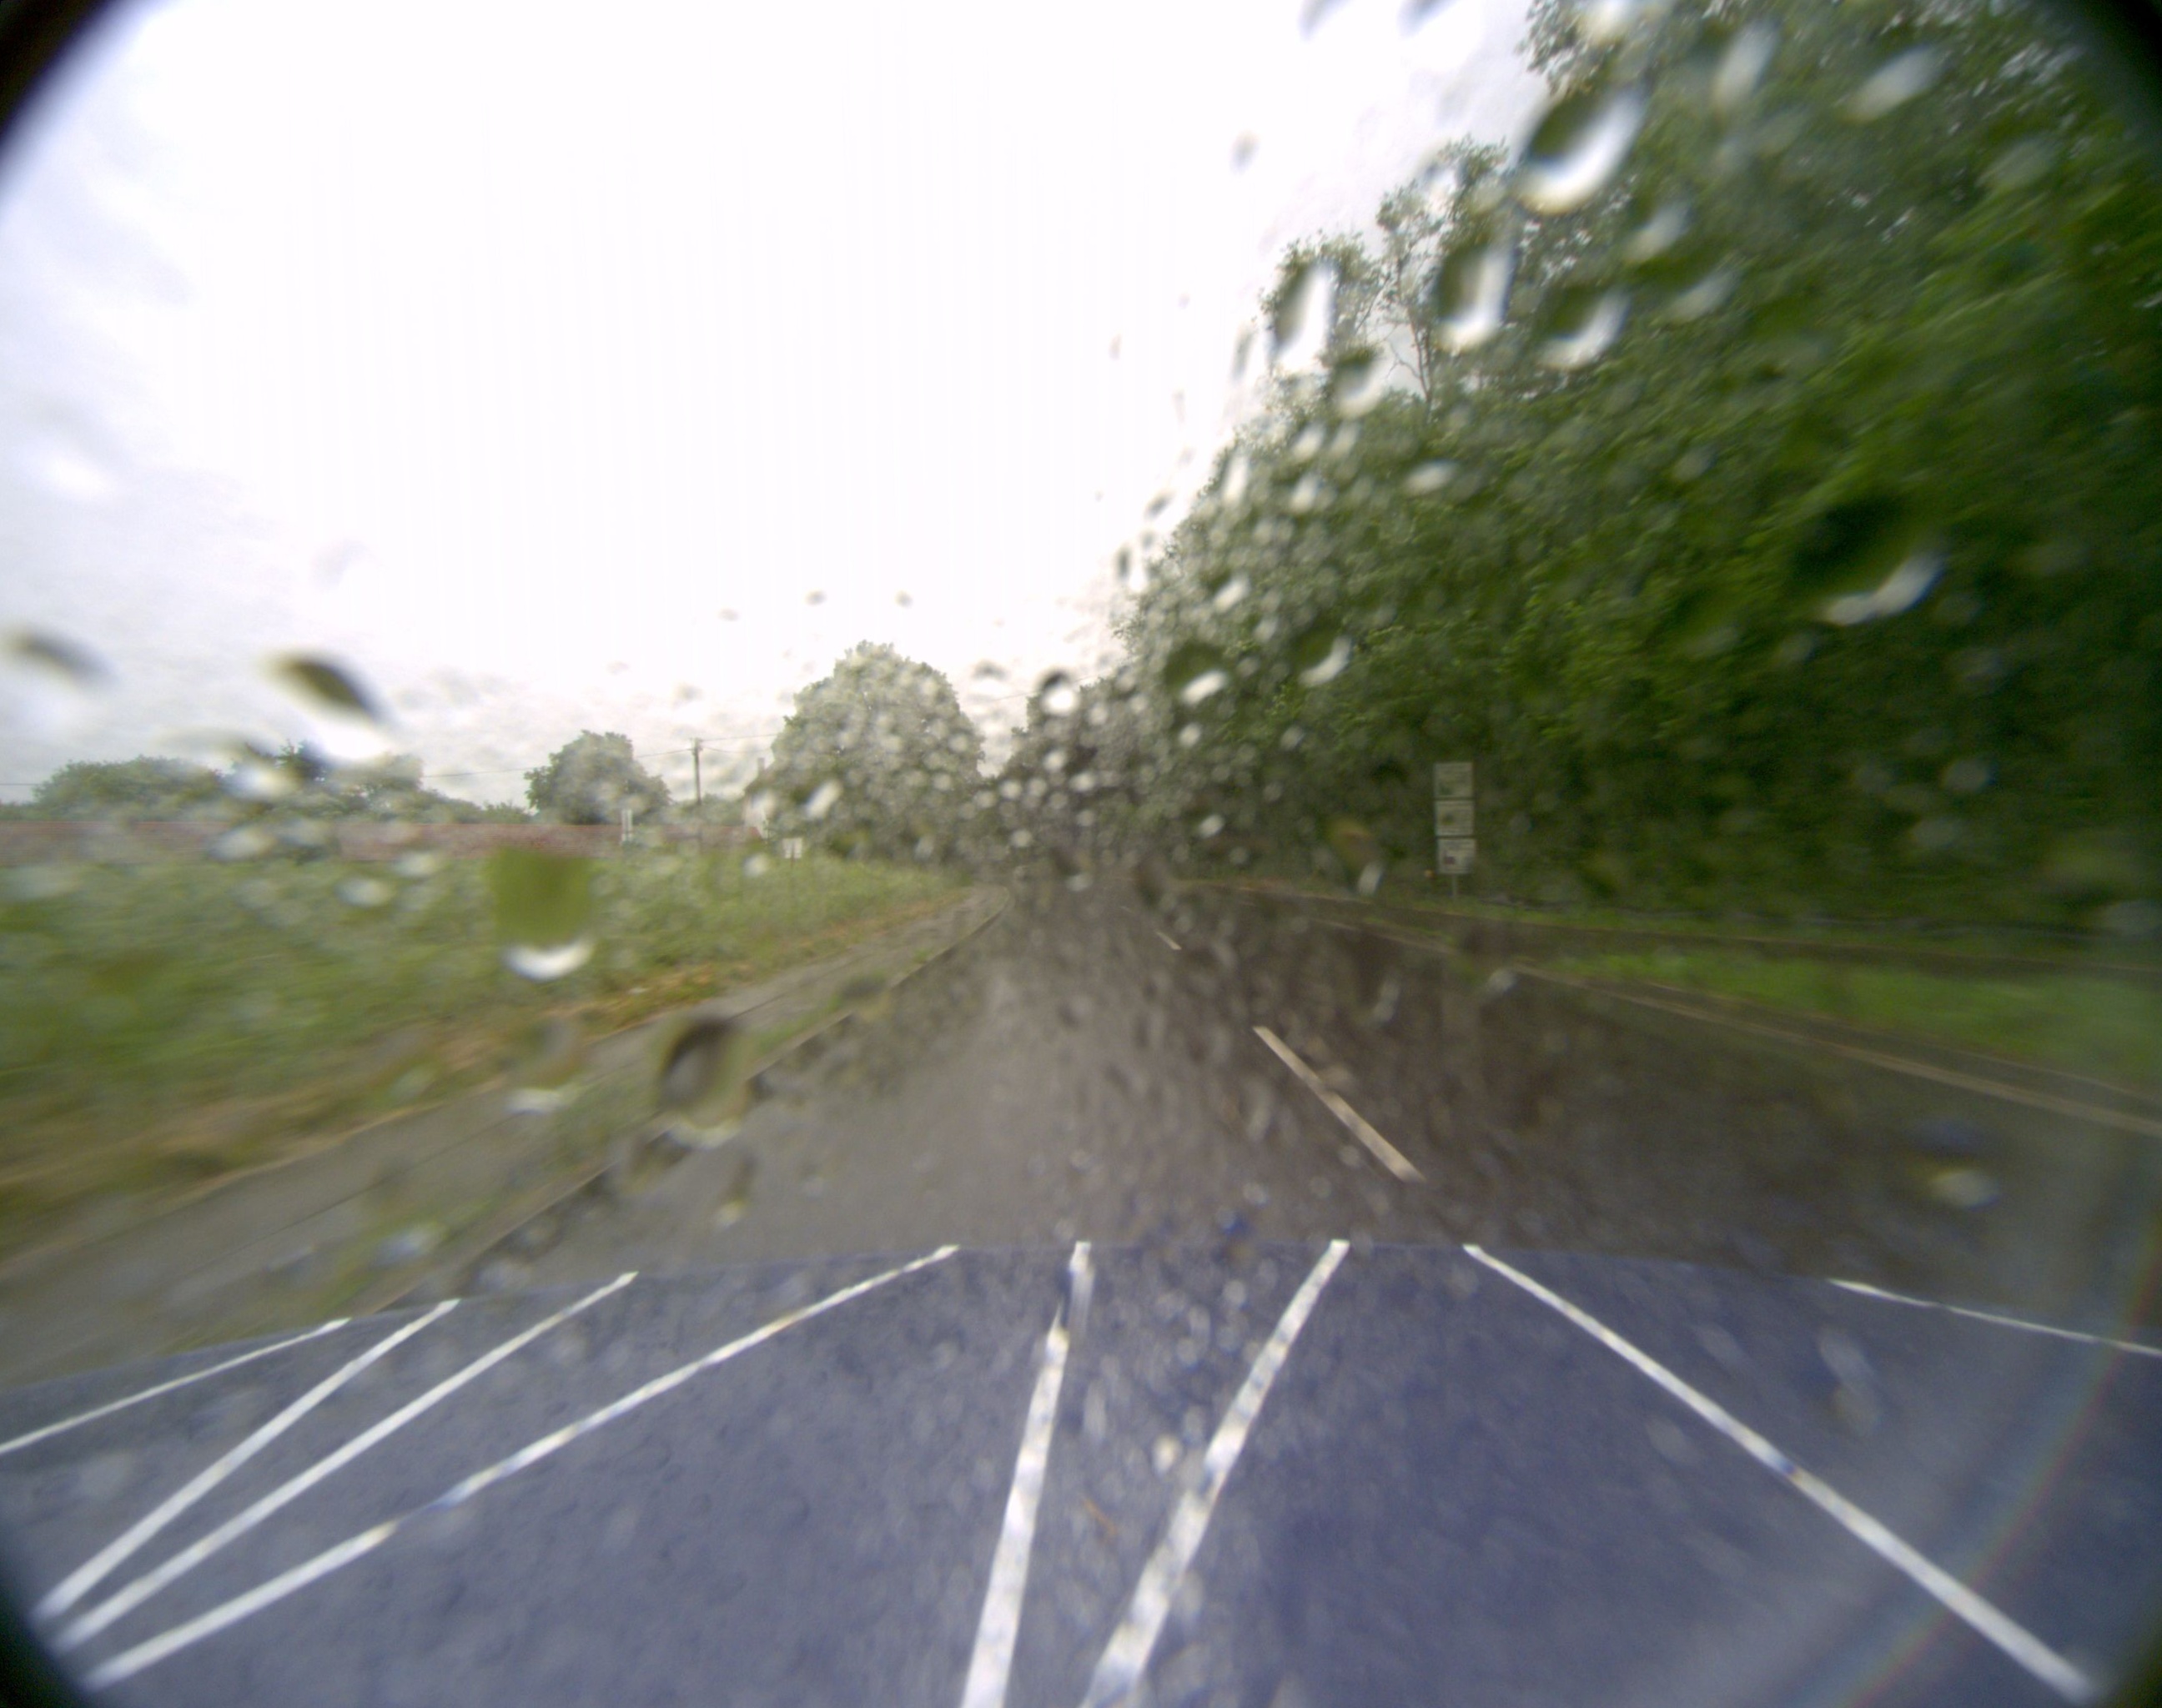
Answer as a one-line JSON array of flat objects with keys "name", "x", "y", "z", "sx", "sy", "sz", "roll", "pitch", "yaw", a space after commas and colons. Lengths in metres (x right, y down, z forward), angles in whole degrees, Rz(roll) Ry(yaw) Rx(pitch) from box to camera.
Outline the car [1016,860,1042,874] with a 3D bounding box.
[{"name": "car", "x": -5.423, "y": 1.315, "z": 78.504, "sx": 2.142, "sy": 1.341, "sz": 4.303, "roll": -2, "pitch": 0, "yaw": -11}]
